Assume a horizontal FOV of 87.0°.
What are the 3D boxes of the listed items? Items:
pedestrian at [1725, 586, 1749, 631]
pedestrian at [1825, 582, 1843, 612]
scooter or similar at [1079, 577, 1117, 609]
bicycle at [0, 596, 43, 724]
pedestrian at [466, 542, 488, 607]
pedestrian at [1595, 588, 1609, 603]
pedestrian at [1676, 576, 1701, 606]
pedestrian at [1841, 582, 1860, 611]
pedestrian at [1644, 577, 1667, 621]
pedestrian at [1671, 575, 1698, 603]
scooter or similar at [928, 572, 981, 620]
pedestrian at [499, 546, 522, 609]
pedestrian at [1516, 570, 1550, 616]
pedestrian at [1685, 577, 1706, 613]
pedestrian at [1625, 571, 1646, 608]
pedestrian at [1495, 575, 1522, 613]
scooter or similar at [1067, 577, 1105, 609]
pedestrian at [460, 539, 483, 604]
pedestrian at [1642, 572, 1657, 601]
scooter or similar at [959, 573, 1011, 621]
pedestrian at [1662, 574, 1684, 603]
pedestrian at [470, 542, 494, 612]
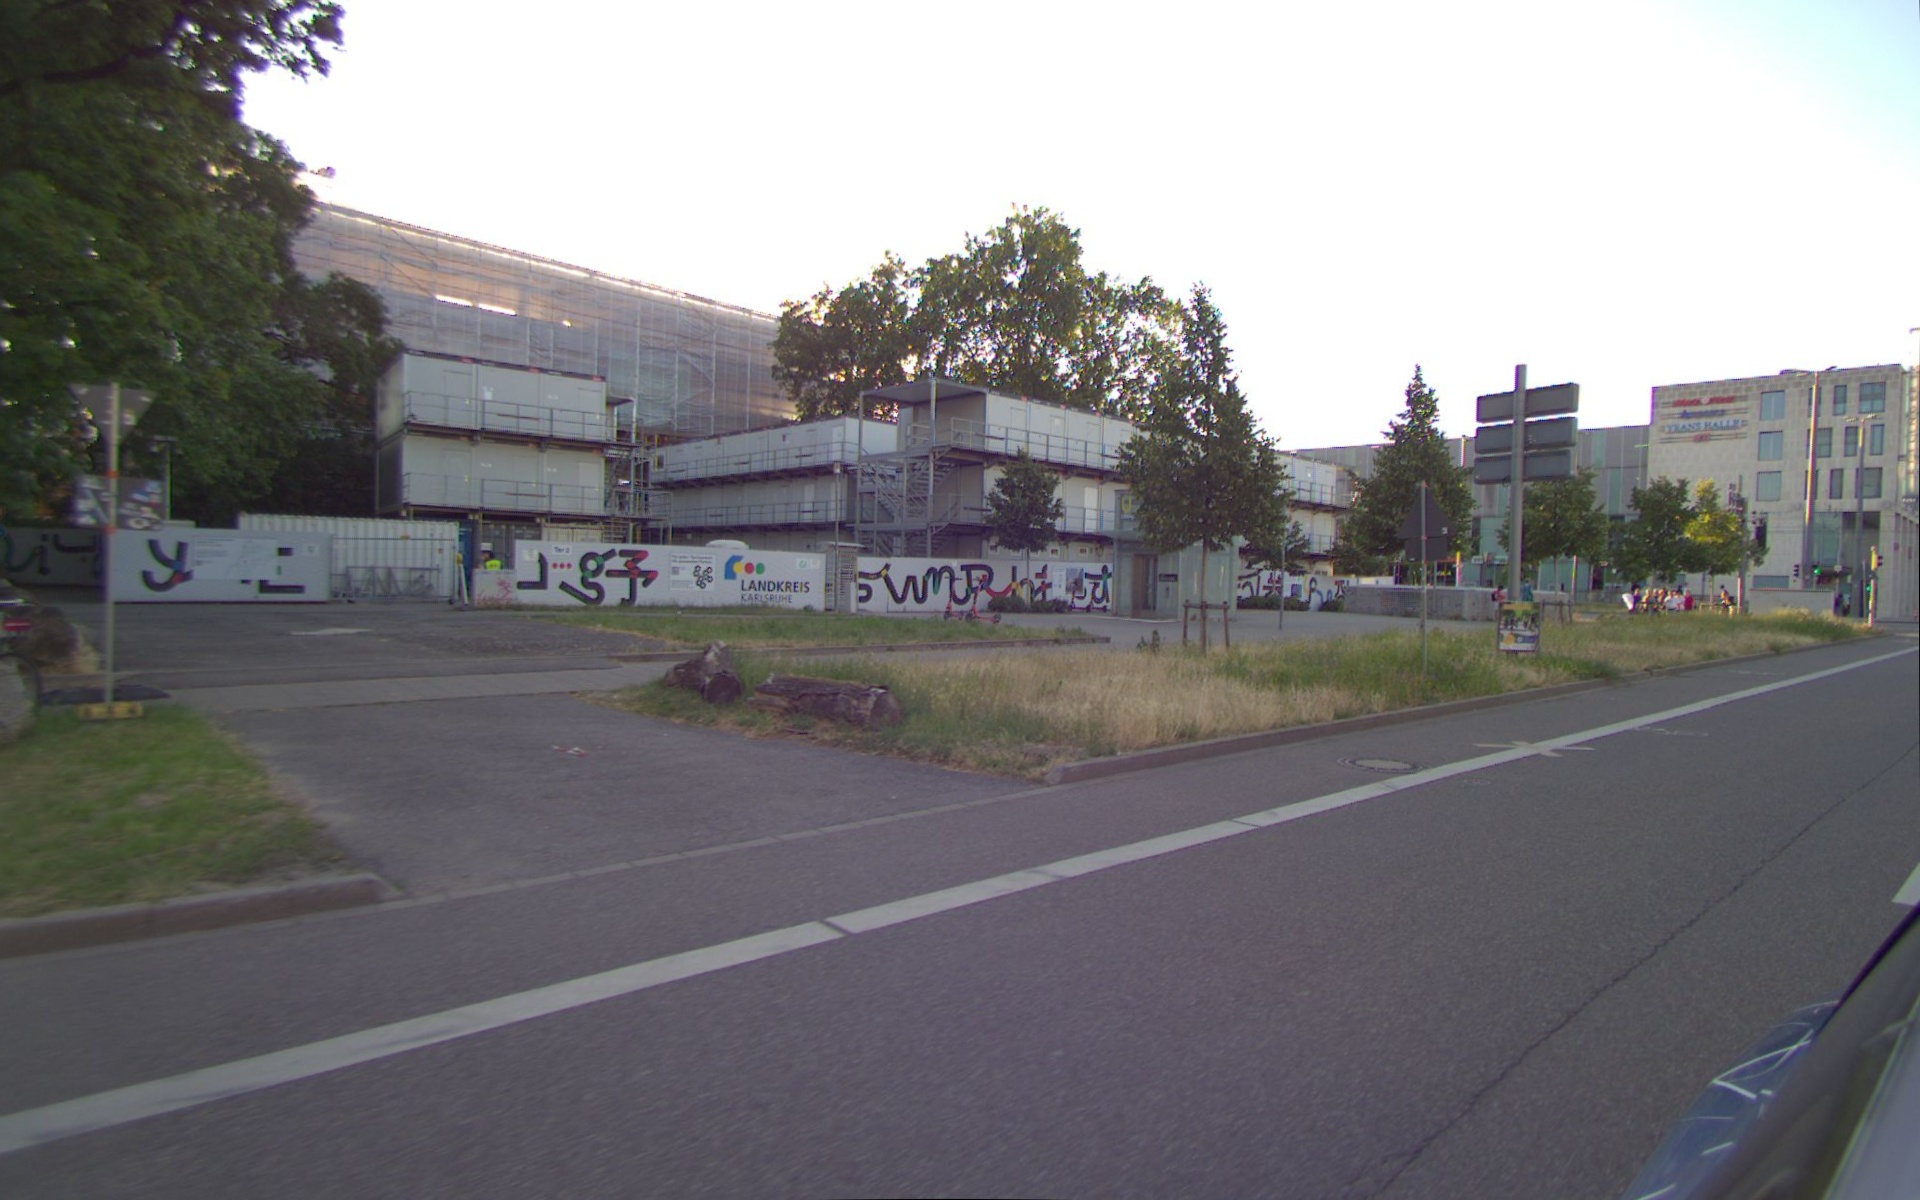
[{"bbox_3d":[34.380,0.358,44.782,0.608,1.957,0.644,1,2,-41],"label":"pedestrian"},{"bbox_3d":[52.272,-0.187,60.519,0.855,1.752,0.644,0,2,-39],"label":"pedestrian"},{"bbox_3d":[5.512,-0.293,40.525,0.466,1.236,1.571,0,0,-43],"label":"scooter or similar"},{"bbox_3d":[-8.810,0.474,8.292,1.858,1.017,0.497,2,4,-21],"label":"bicycle"},{"bbox_3d":[-14.703,-0.773,30.804,0.588,1.925,0.771,1,1,-26],"label":"pedestrian"},{"bbox_3d":[42.893,-0.311,67.649,0.648,0.975,0.644,3,2,44],"label":"pedestrian"},{"bbox_3d":[47.618,-0.587,66.164,0.986,1.876,0.896,0,4,-29],"label":"pedestrian"},{"bbox_3d":[52.787,-0.210,60.005,0.855,1.680,0.644,0,2,-39],"label":"pedestrian"},{"bbox_3d":[31.690,-0.037,46.119,0.608,1.957,0.644,0,2,-39],"label":"pedestrian"},{"bbox_3d":[46.841,-0.724,65.408,0.986,1.744,0.873,1,4,-15],"label":"pedestrian"},{"bbox_3d":[-0.150,-0.112,27.673,0.473,1.235,1.550,6,4,42],"label":"scooter or similar"},{"bbox_3d":[-13.480,-0.686,30.353,0.588,1.843,0.771,1,1,-26],"label":"pedestrian"},{"bbox_3d":[23.482,-0.285,41.478,1.027,1.838,0.817,2,1,-36],"label":"pedestrian"},{"bbox_3d":[35.719,-0.247,49.149,0.856,1.734,0.643,0,2,-42],"label":"pedestrian"},{"bbox_3d":[32.307,-0.498,48.393,0.750,1.734,0.643,2,1,-45],"label":"pedestrian"},{"bbox_3d":[22.772,-0.260,42.048,0.633,1.509,0.761,3,0,-42],"label":"pedestrian"},{"bbox_3d":[4.957,-0.276,39.940,0.466,1.236,1.571,0,0,-43],"label":"scooter or similar"},{"bbox_3d":[-14.401,-0.844,29.840,0.588,1.879,0.771,1,1,-26],"label":"pedestrian"},{"bbox_3d":[45.312,-0.908,66.522,0.575,1.877,0.604,0,2,-37],"label":"pedestrian"},{"bbox_3d":[0.666,-0.074,26.833,1.374,1.235,0.424,1,4,-41],"label":"scooter or similar"},{"bbox_3d":[47.283,-0.768,67.109,0.882,1.876,0.723,3,4,16],"label":"pedestrian"},{"bbox_3d":[-13.582,-0.648,28.746,0.588,1.943,0.771,1,1,-26],"label":"pedestrian"}]
